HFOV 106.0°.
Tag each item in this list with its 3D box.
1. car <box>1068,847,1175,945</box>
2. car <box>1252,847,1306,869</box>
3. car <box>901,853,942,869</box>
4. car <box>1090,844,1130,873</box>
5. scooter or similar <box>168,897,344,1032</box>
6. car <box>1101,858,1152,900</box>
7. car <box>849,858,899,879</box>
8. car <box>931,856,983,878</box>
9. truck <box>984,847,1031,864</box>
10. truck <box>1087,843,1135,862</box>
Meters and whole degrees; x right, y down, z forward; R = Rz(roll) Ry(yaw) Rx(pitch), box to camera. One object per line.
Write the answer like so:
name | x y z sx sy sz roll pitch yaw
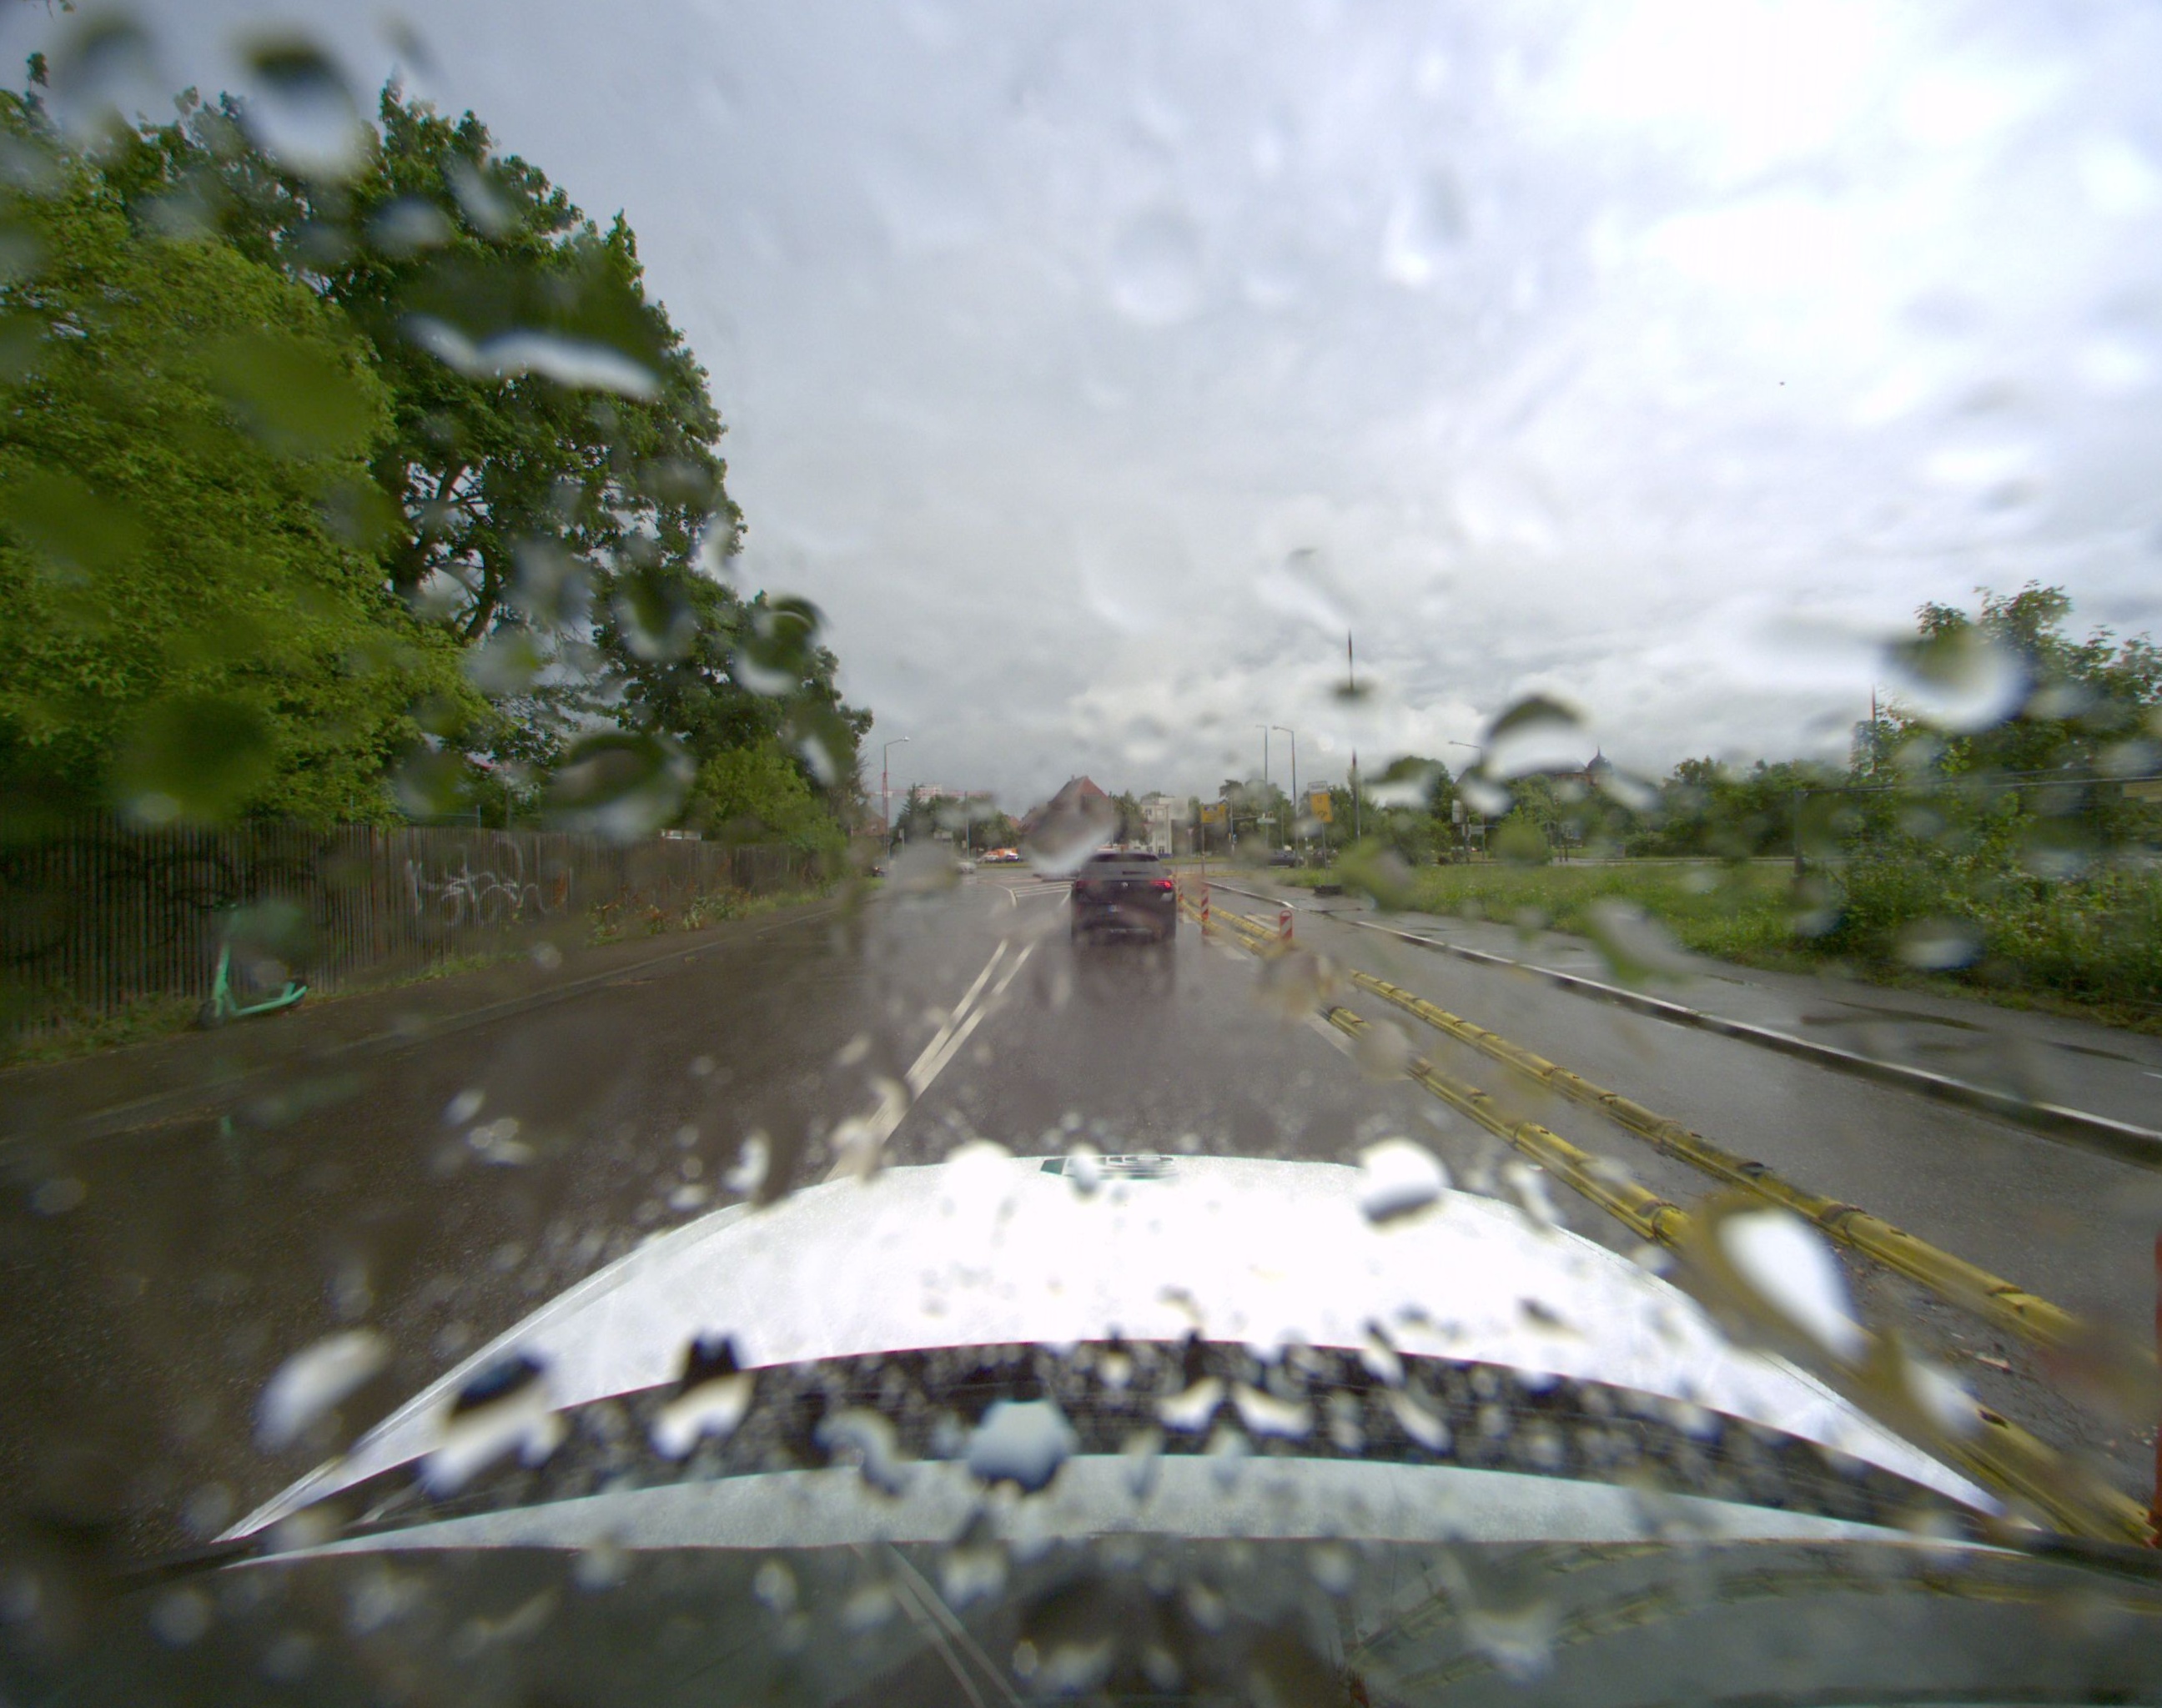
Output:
car | 0.630 0.686 15.063 1.704 1.574 3.680 0 0 -2
car | 15.844 0.294 65.313 3.926 1.644 1.672 -1 0 2
car | -20.702 0.874 105.765 1.870 1.876 5.165 -2 0 38
car | 1.965 0.280 53.816 1.852 1.809 4.418 -1 0 12
scooter or similar | -8.093 1.041 8.053 0.561 1.162 1.206 -1 0 -6
car | 1.755 0.925 32.107 1.730 1.514 3.602 -1 0 -1
car | -18.429 1.320 72.281 4.368 1.552 1.798 -4 0 35
car | -10.744 1.139 70.521 3.949 1.830 2.012 -2 0 27
truck | -11.274 0.203 124.726 6.732 2.442 2.415 -2 0 -24
truck | 4.429 -0.186 120.331 7.039 2.650 2.331 -1 0 2
